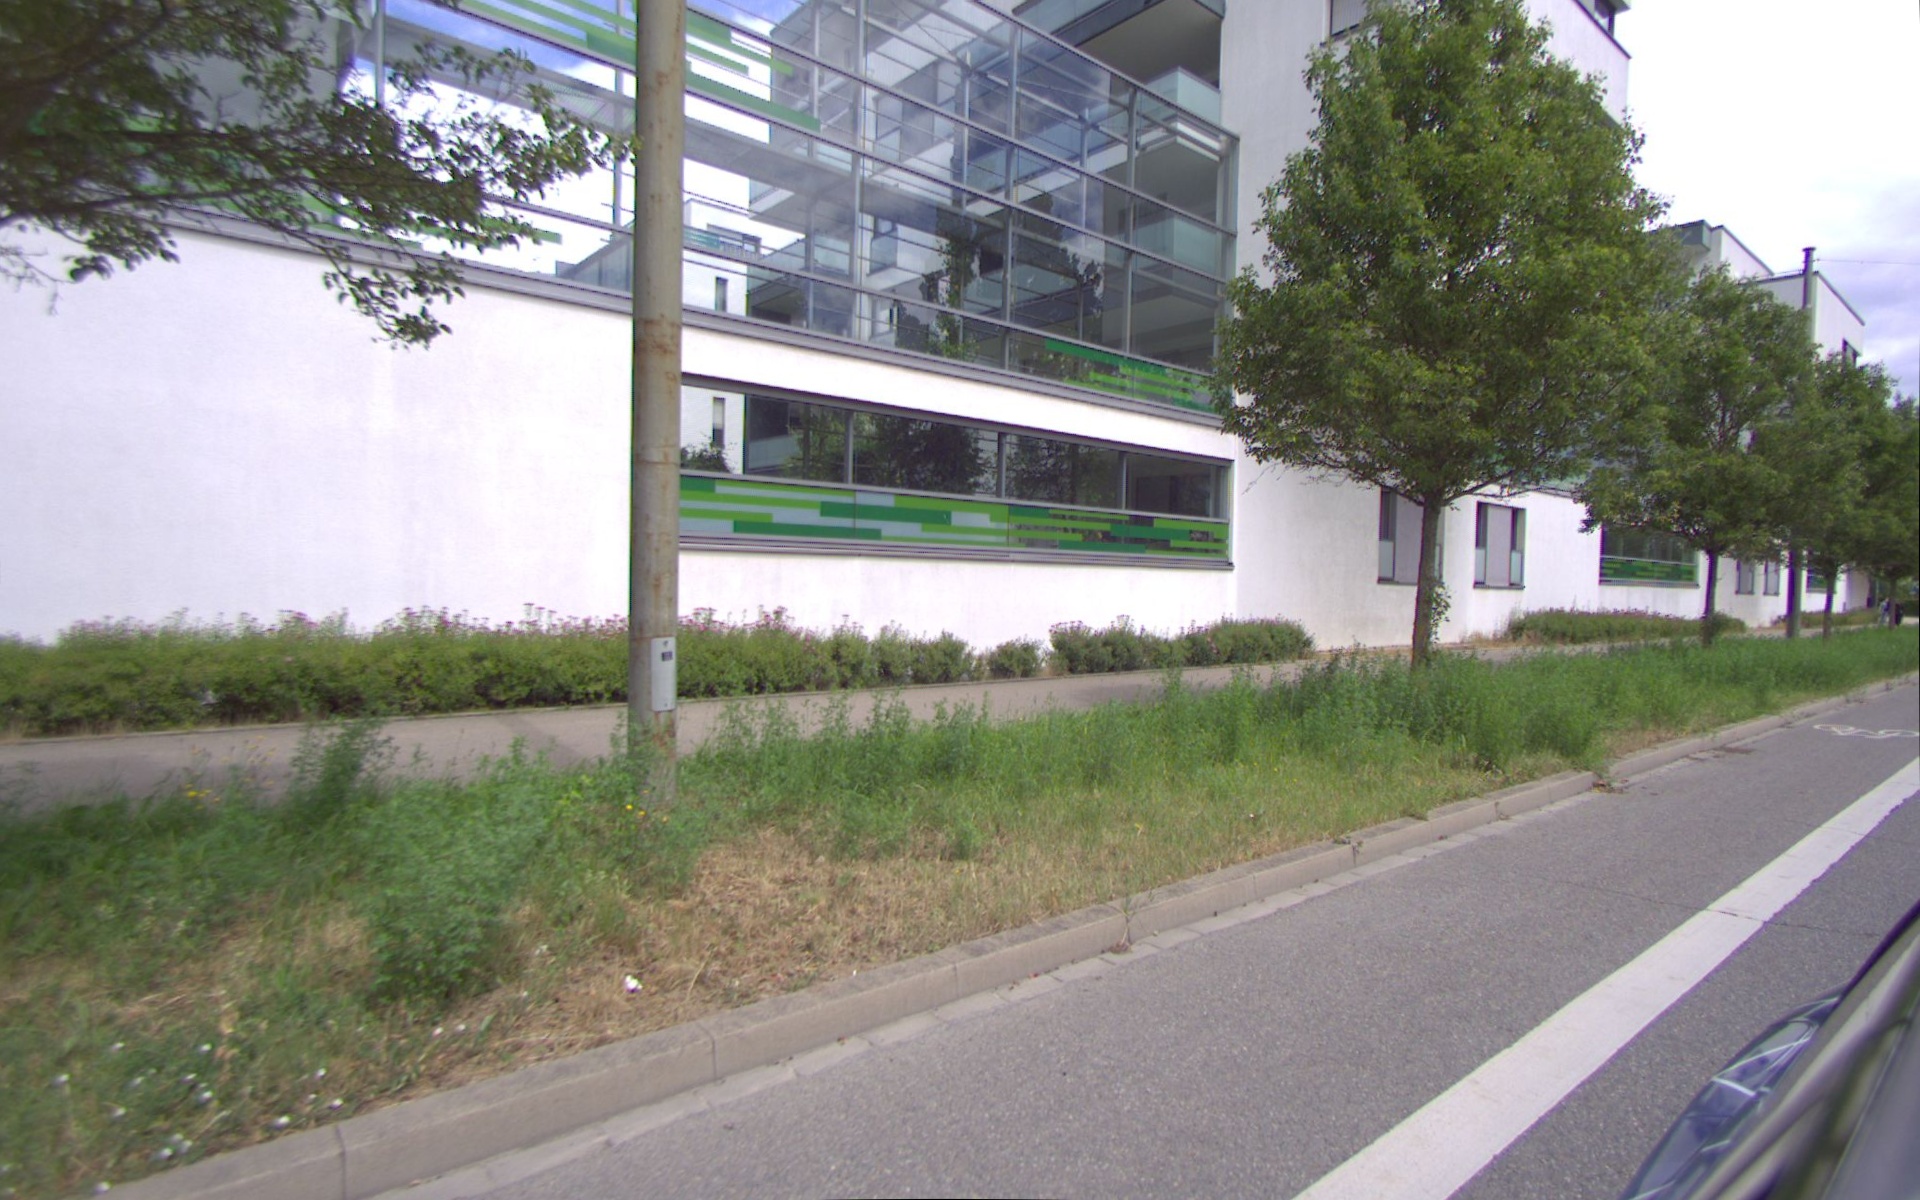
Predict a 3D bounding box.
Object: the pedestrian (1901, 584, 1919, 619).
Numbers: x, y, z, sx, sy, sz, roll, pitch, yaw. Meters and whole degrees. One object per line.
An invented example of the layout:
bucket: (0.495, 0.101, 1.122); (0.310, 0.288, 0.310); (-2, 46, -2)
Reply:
pedestrian: (52.085, 0.074, 55.450); (0.690, 1.910, 0.740); (0, 0, -43)

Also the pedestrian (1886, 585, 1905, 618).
pedestrian: (51.927, 0.082, 56.178); (0.613, 1.864, 0.584); (0, 0, 23)
